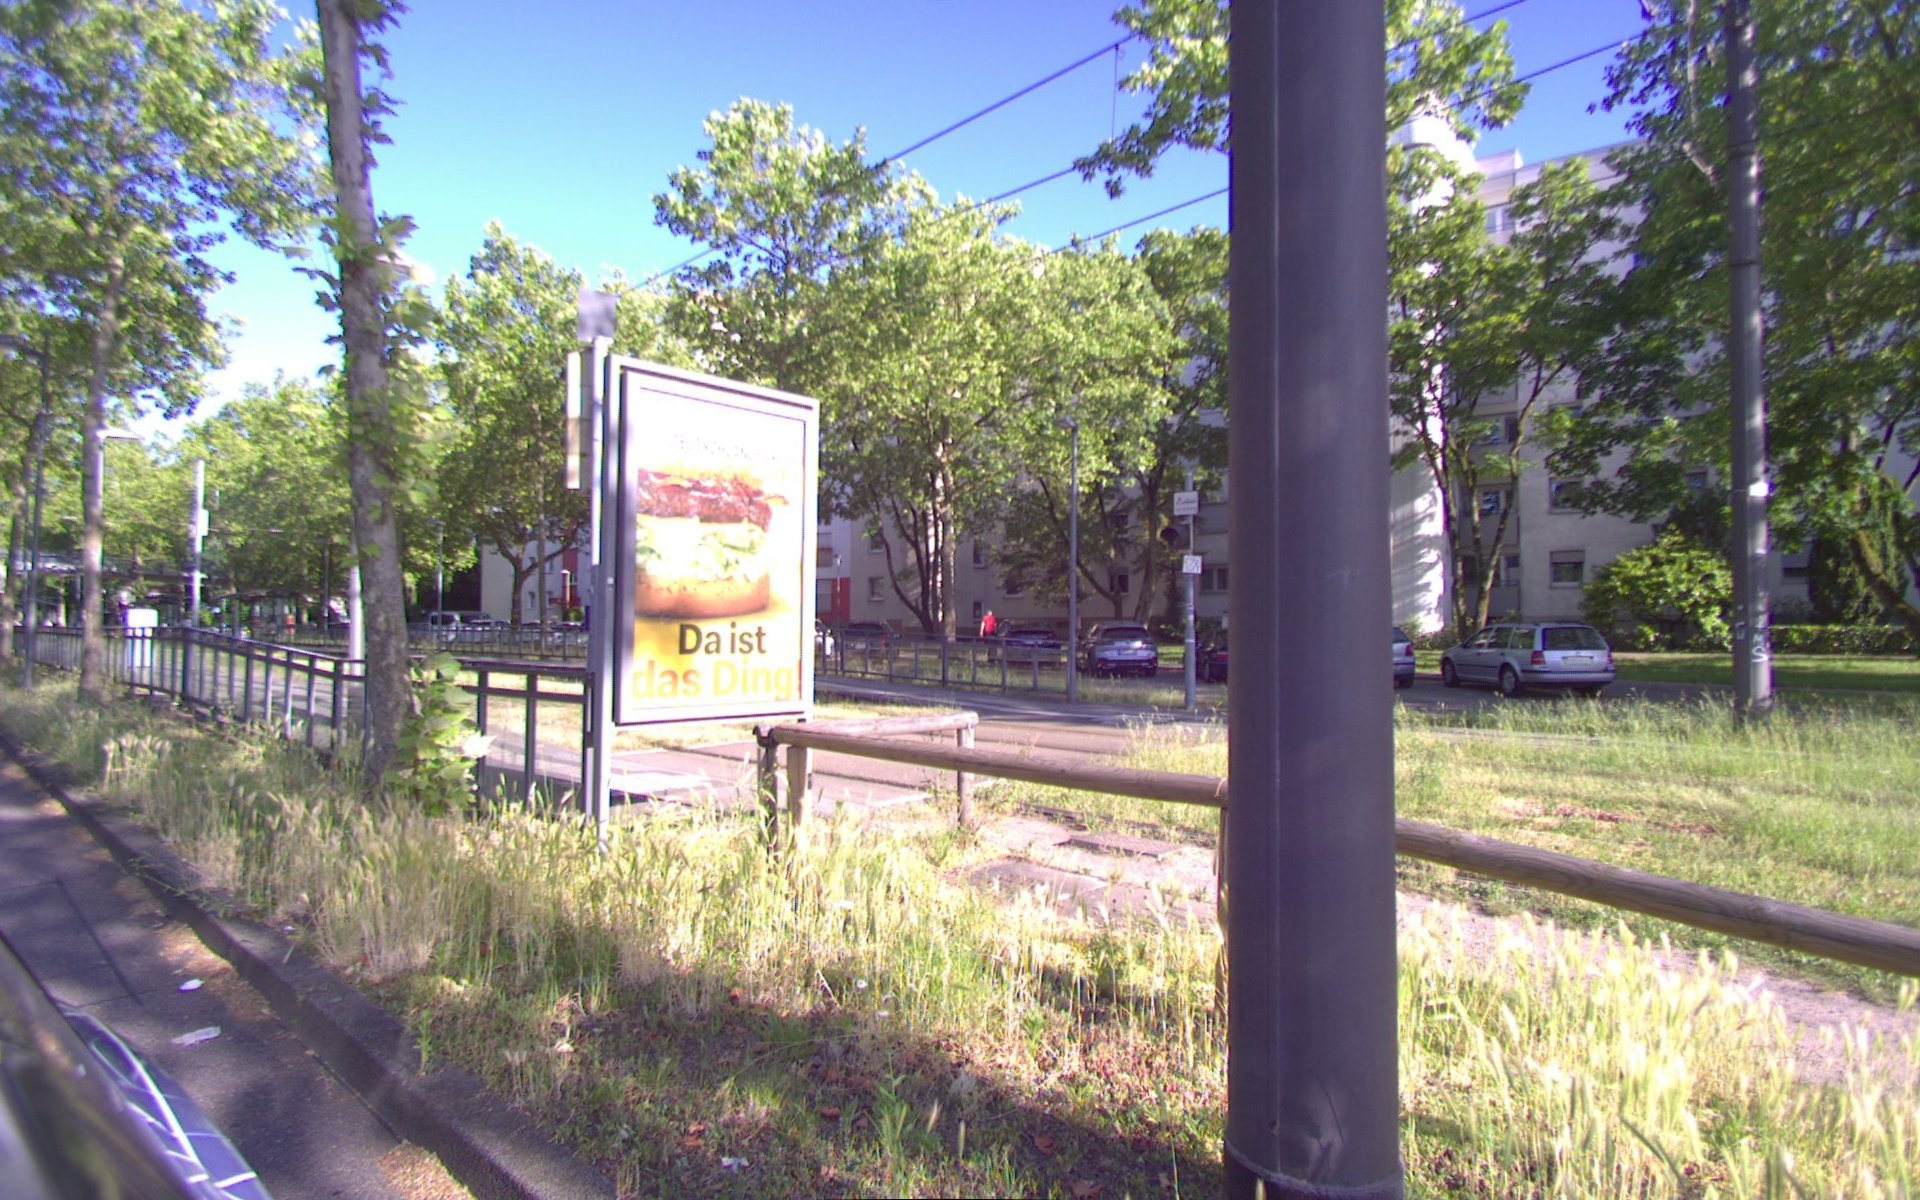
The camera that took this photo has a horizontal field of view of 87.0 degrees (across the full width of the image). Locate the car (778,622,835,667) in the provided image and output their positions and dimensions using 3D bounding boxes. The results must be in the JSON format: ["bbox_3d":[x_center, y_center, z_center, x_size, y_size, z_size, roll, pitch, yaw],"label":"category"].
[{"bbox_3d":[-5.562,1.571,37.020,1.633,1.522,3.805,-1,-1,-2],"label":"car"}]

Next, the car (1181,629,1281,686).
[{"bbox_3d":[6.678,1.379,25.279,1.445,1.234,3.815,-1,-1,0],"label":"car"}]

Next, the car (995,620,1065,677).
[{"bbox_3d":[1.987,1.356,29.669,1.633,1.522,3.805,-1,-1,-2],"label":"car"}]

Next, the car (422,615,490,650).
[{"bbox_3d":[-28.448,1.826,57.257,1.814,1.888,4.323,-1,-1,-2],"label":"car"}]

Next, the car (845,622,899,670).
[{"bbox_3d":[-2.972,1.529,34.651,1.633,1.522,3.805,-1,-1,-2],"label":"car"}]

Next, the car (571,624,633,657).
[{"bbox_3d":[-16.622,1.857,47.162,1.633,1.452,3.805,-1,-1,-2],"label":"car"}]

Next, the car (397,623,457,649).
[{"bbox_3d":[-31.327,2.085,59.602,1.633,1.452,3.805,-1,-1,-2],"label":"car"}]

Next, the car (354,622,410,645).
[{"bbox_3d":[-37.880,2.174,66.382,1.633,1.452,3.805,-1,-1,-2],"label":"car"}]

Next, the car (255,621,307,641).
[{"bbox_3d":[-53.045,2.404,79.157,1.633,1.452,3.805,-1,-1,-2],"label":"car"}]

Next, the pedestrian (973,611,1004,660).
[{"bbox_3d":[1.038,1.275,36.771,0.786,1.745,0.755,-1,0,39],"label":"pedestrian"}]

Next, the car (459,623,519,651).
[{"bbox_3d":[-25.866,2.001,55.663,1.633,1.452,3.805,-1,-1,-2],"label":"car"}]

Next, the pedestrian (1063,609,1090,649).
[{"bbox_3d":[4.785,1.178,41.614,0.786,1.635,0.755,-1,0,39],"label":"pedestrian"}]

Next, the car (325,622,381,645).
[{"bbox_3d":[-40.833,2.229,68.195,1.633,1.452,3.805,-1,-1,-2],"label":"car"}]

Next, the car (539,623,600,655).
[{"bbox_3d":[-19.041,1.899,49.543,1.633,1.452,3.805,-1,-1,-2],"label":"car"}]

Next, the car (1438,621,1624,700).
[{"bbox_3d":[11.477,1.163,20.666,1.559,1.413,3.906,-1,-1,0],"label":"car"}]

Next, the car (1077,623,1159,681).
[{"bbox_3d":[4.221,1.366,27.521,1.633,1.413,3.803,-1,-1,0],"label":"car"}]

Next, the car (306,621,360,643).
[{"bbox_3d":[-44.974,2.289,72.685,1.633,1.452,3.805,-1,-1,-2],"label":"car"}]

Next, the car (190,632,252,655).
[{"bbox_3d":[-52.745,3.084,72.211,4.617,1.522,1.642,-1,-1,26],"label":"car"}]

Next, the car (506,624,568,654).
[{"bbox_3d":[-21.333,1.942,51.186,1.633,1.452,3.805,-1,-1,-2],"label":"car"}]

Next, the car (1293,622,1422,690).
[{"bbox_3d":[9.146,1.240,23.592,1.559,1.413,3.638,-1,-1,0],"label":"car"}]

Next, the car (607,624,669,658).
[{"bbox_3d":[-14.059,1.767,44.339,1.633,1.366,3.805,-1,-1,-2],"label":"car"}]

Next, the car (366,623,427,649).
[{"bbox_3d":[-33.689,2.116,60.606,1.633,1.452,3.805,-1,-1,-2],"label":"car"}]
